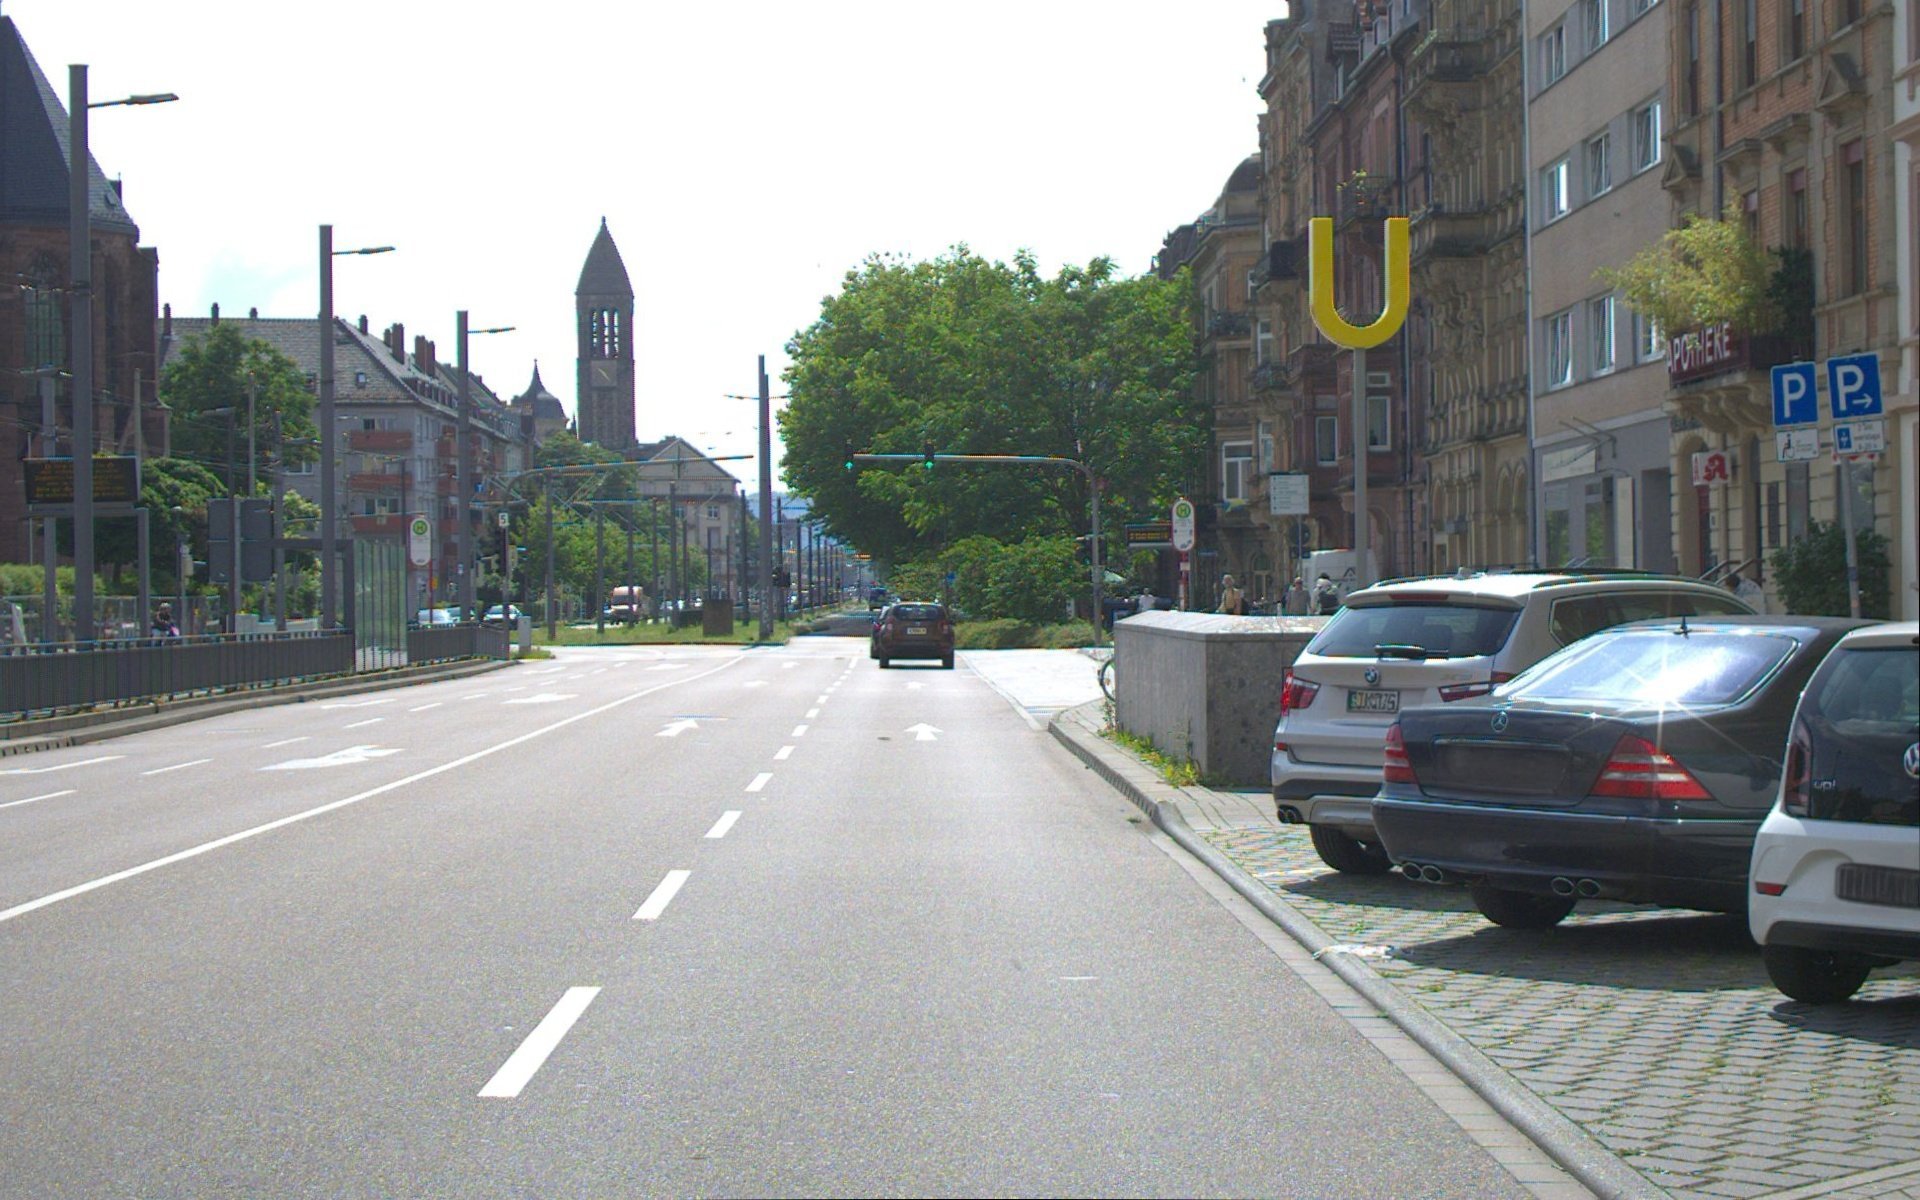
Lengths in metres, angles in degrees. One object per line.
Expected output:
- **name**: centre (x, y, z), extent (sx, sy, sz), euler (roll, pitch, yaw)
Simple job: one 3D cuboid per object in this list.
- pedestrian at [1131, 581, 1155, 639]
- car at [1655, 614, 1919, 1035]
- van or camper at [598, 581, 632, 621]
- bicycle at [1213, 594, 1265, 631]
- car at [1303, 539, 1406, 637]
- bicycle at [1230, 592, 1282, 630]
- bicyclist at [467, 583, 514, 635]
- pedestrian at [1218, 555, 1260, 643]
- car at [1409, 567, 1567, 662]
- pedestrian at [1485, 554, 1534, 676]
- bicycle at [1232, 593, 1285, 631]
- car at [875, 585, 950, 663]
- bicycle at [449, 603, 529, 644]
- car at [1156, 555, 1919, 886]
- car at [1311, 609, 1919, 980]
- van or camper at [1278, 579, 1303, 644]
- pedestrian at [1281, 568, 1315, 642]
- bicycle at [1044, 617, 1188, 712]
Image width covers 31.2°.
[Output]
- **pedestrian**: centre (6.382, 0.360, 119.811), extent (0.768, 2.007, 0.715), euler (-1, 0, 0)
- **car**: centre (4.461, 0.788, 13.179), extent (3.486, 1.448, 1.778), euler (1, -1, -41)
- **van or camper**: centre (-24.587, 0.080, 245.035), extent (2.255, 2.728, 6.204), euler (-1, 0, -4)
- **bicycle**: centre (9.660, 0.432, 118.927), extent (1.769, 1.263, 0.466), euler (0, 2, 3)
- **car**: centre (10.565, -0.326, 92.479), extent (1.993, 2.517, 5.889), euler (0, 0, -1)
- **bicycle**: centre (10.039, 0.384, 116.608), extent (1.746, 1.263, 0.466), euler (0, 2, 3)
- **bicyclist**: centre (-13.161, 0.261, 96.405), extent (1.089, 1.431, 0.824), euler (-1, 0, 9)
- **pedestrian**: centre (6.122, -0.023, 75.549), extent (0.662, 1.896, 0.695), euler (-1, 0, -19)
- **car**: centre (10.718, 0.310, 70.183), extent (1.993, 1.856, 4.753), euler (-1, -1, -6)
- **pedestrian**: centre (9.644, 0.254, 60.318), extent (0.721, 2.092, 0.786), euler (0, 2, 0)
- **bicycle**: centre (10.081, 0.404, 116.069), extent (1.769, 1.263, 0.466), euler (0, 2, 3)
- **car**: centre (-1.172, 0.559, 83.636), extent (1.688, 1.705, 3.609), euler (-1, 2, -3)
- **bicycle**: centre (-13.190, 0.652, 96.365), extent (2.019, 1.122, 0.931), euler (-1, 0, 10)
- **car**: centre (3.462, 0.601, 19.613), extent (4.583, 1.641, 2.060), euler (-1, 0, -43)
- **car**: centre (3.921, 0.778, 15.876), extent (4.586, 1.455, 1.938), euler (0, 0, -40)
- **van or camper**: centre (10.261, 0.350, 106.759), extent (0.666, 2.007, 0.638), euler (-1, 0, -1)
- **pedestrian**: centre (8.451, 0.128, 86.013), extent (0.662, 1.830, 0.695), euler (-1, 0, -7)
- **bicycle**: centre (2.140, 0.875, 47.157), extent (1.923, 1.233, 0.441), euler (-1, 2, -14)
